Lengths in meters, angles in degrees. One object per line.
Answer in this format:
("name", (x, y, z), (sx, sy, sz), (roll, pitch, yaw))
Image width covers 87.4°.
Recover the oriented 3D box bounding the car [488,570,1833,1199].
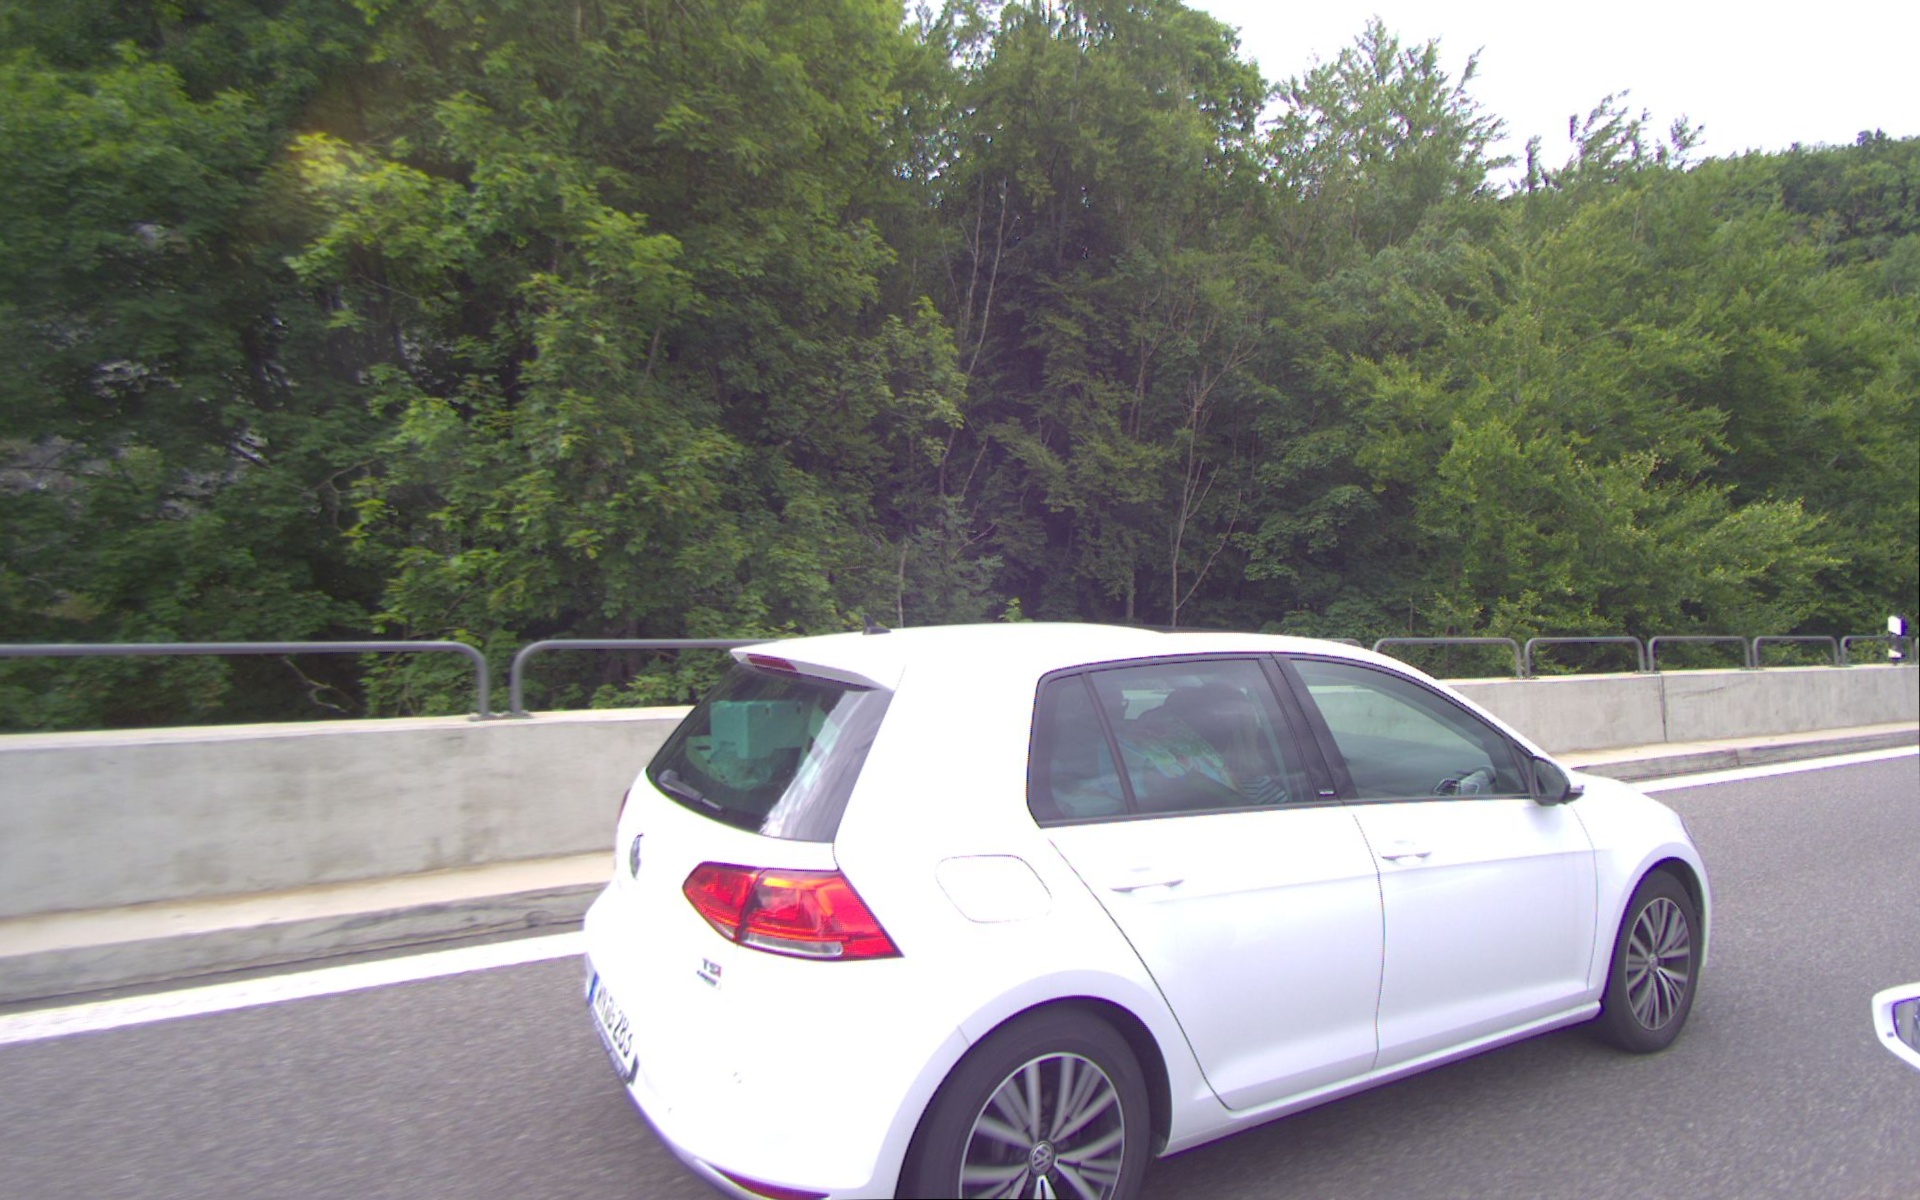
("car", (0.936, 0.763, 3.530), (4.572, 1.501, 1.836), (1, -1, -30))
